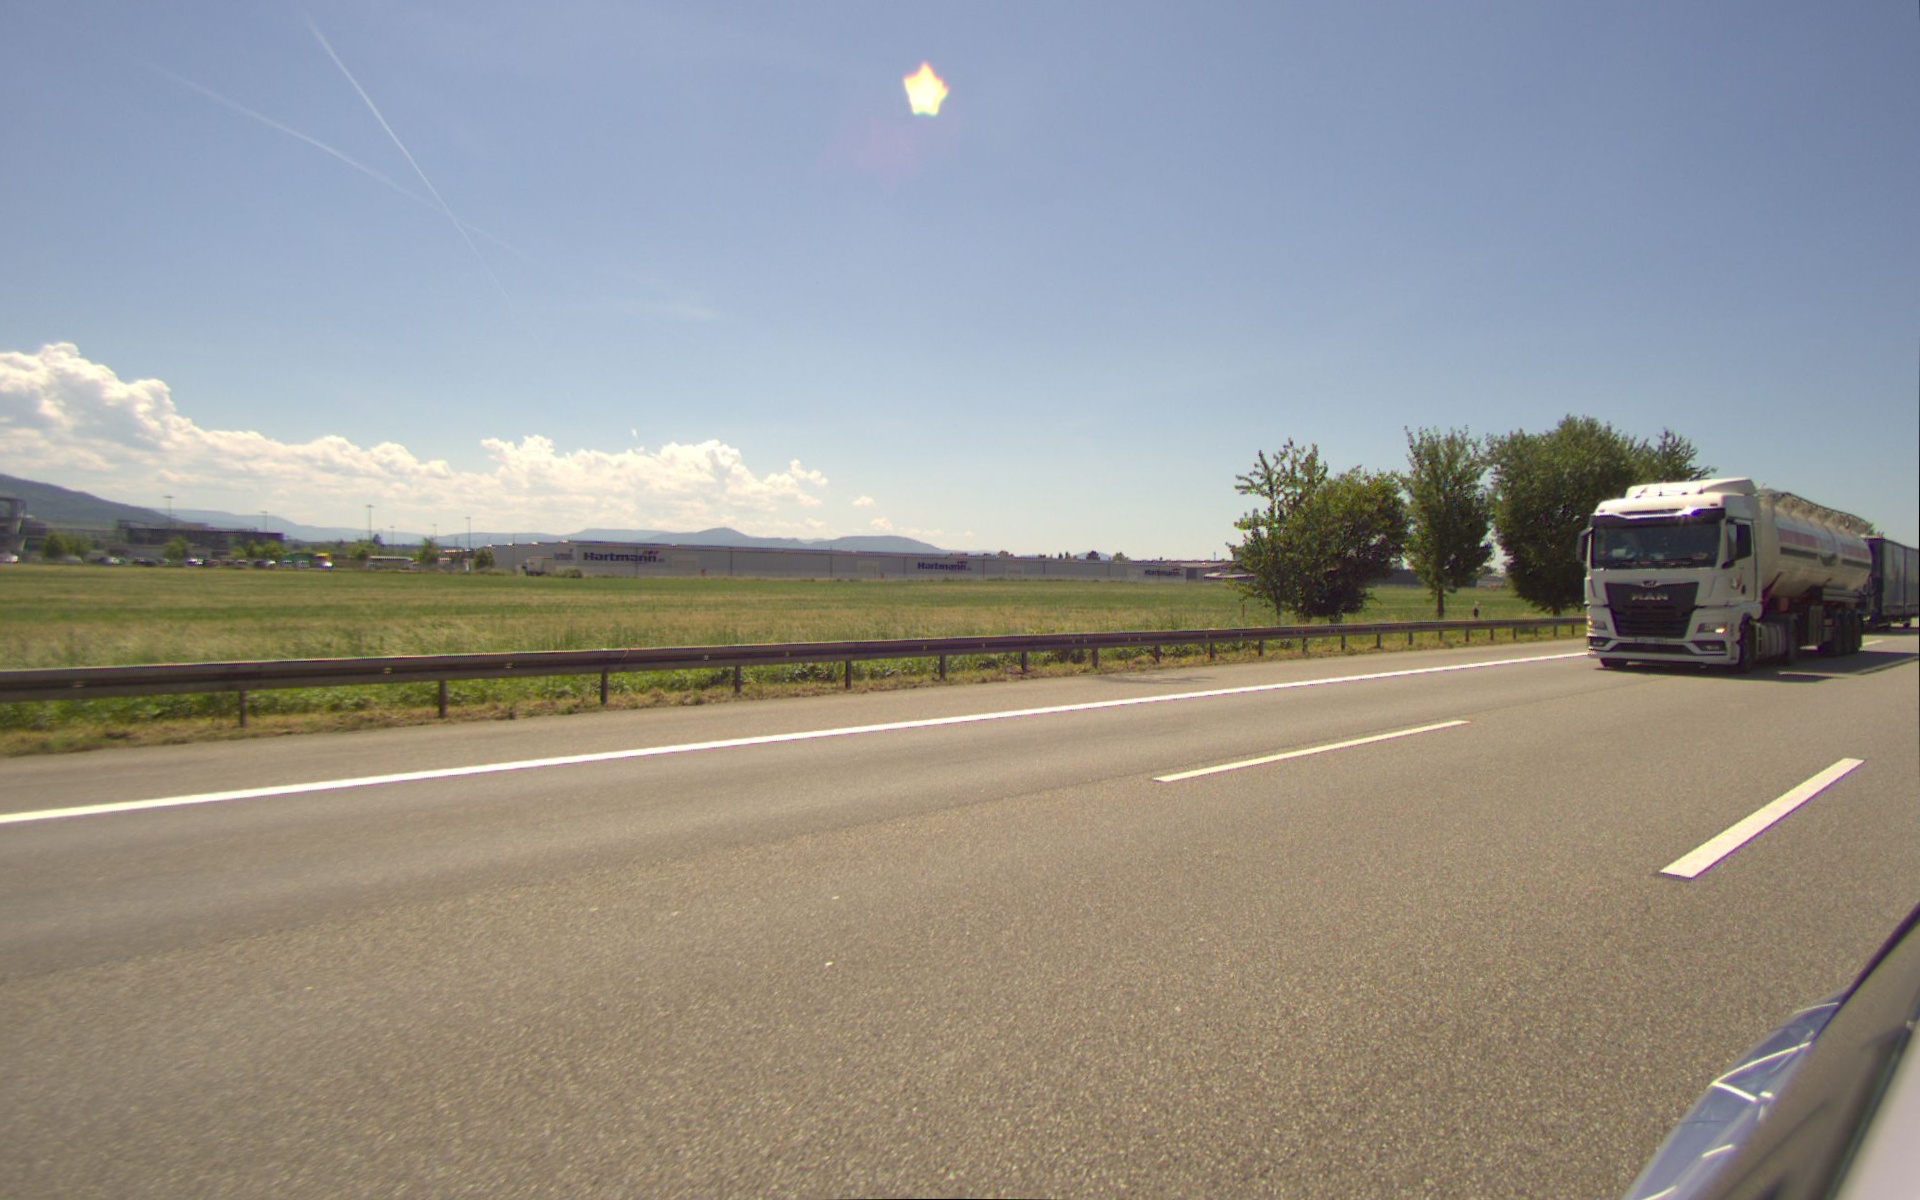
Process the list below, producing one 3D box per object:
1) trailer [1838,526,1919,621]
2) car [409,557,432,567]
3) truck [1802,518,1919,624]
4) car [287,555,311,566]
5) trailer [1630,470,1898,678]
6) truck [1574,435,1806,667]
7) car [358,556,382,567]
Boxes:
[{"bbox_3d":[46.223,-1.228,49.932,10.616,4.257,2.796,0,1,-41],"label":"trailer"},{"bbox_3d":[-111.080,-7.820,208.275,3.925,2.039,1.875,0,1,-36],"label":"car"},{"bbox_3d":[40.544,-1.217,45.093,10.615,4.257,2.796,0,1,-40],"label":"truck"},{"bbox_3d":[-128.309,-7.672,196.449,3.925,2.039,1.875,0,1,-36],"label":"car"},{"bbox_3d":[20.784,-0.588,25.698,12.131,4.257,2.797,0,1,-39],"label":"trailer"},{"bbox_3d":[15.358,-0.941,21.214,4.911,4.257,2.796,0,1,-40],"label":"truck"},{"bbox_3d":[-118.402,-7.756,203.017,3.925,2.039,1.875,0,1,-36],"label":"car"}]
